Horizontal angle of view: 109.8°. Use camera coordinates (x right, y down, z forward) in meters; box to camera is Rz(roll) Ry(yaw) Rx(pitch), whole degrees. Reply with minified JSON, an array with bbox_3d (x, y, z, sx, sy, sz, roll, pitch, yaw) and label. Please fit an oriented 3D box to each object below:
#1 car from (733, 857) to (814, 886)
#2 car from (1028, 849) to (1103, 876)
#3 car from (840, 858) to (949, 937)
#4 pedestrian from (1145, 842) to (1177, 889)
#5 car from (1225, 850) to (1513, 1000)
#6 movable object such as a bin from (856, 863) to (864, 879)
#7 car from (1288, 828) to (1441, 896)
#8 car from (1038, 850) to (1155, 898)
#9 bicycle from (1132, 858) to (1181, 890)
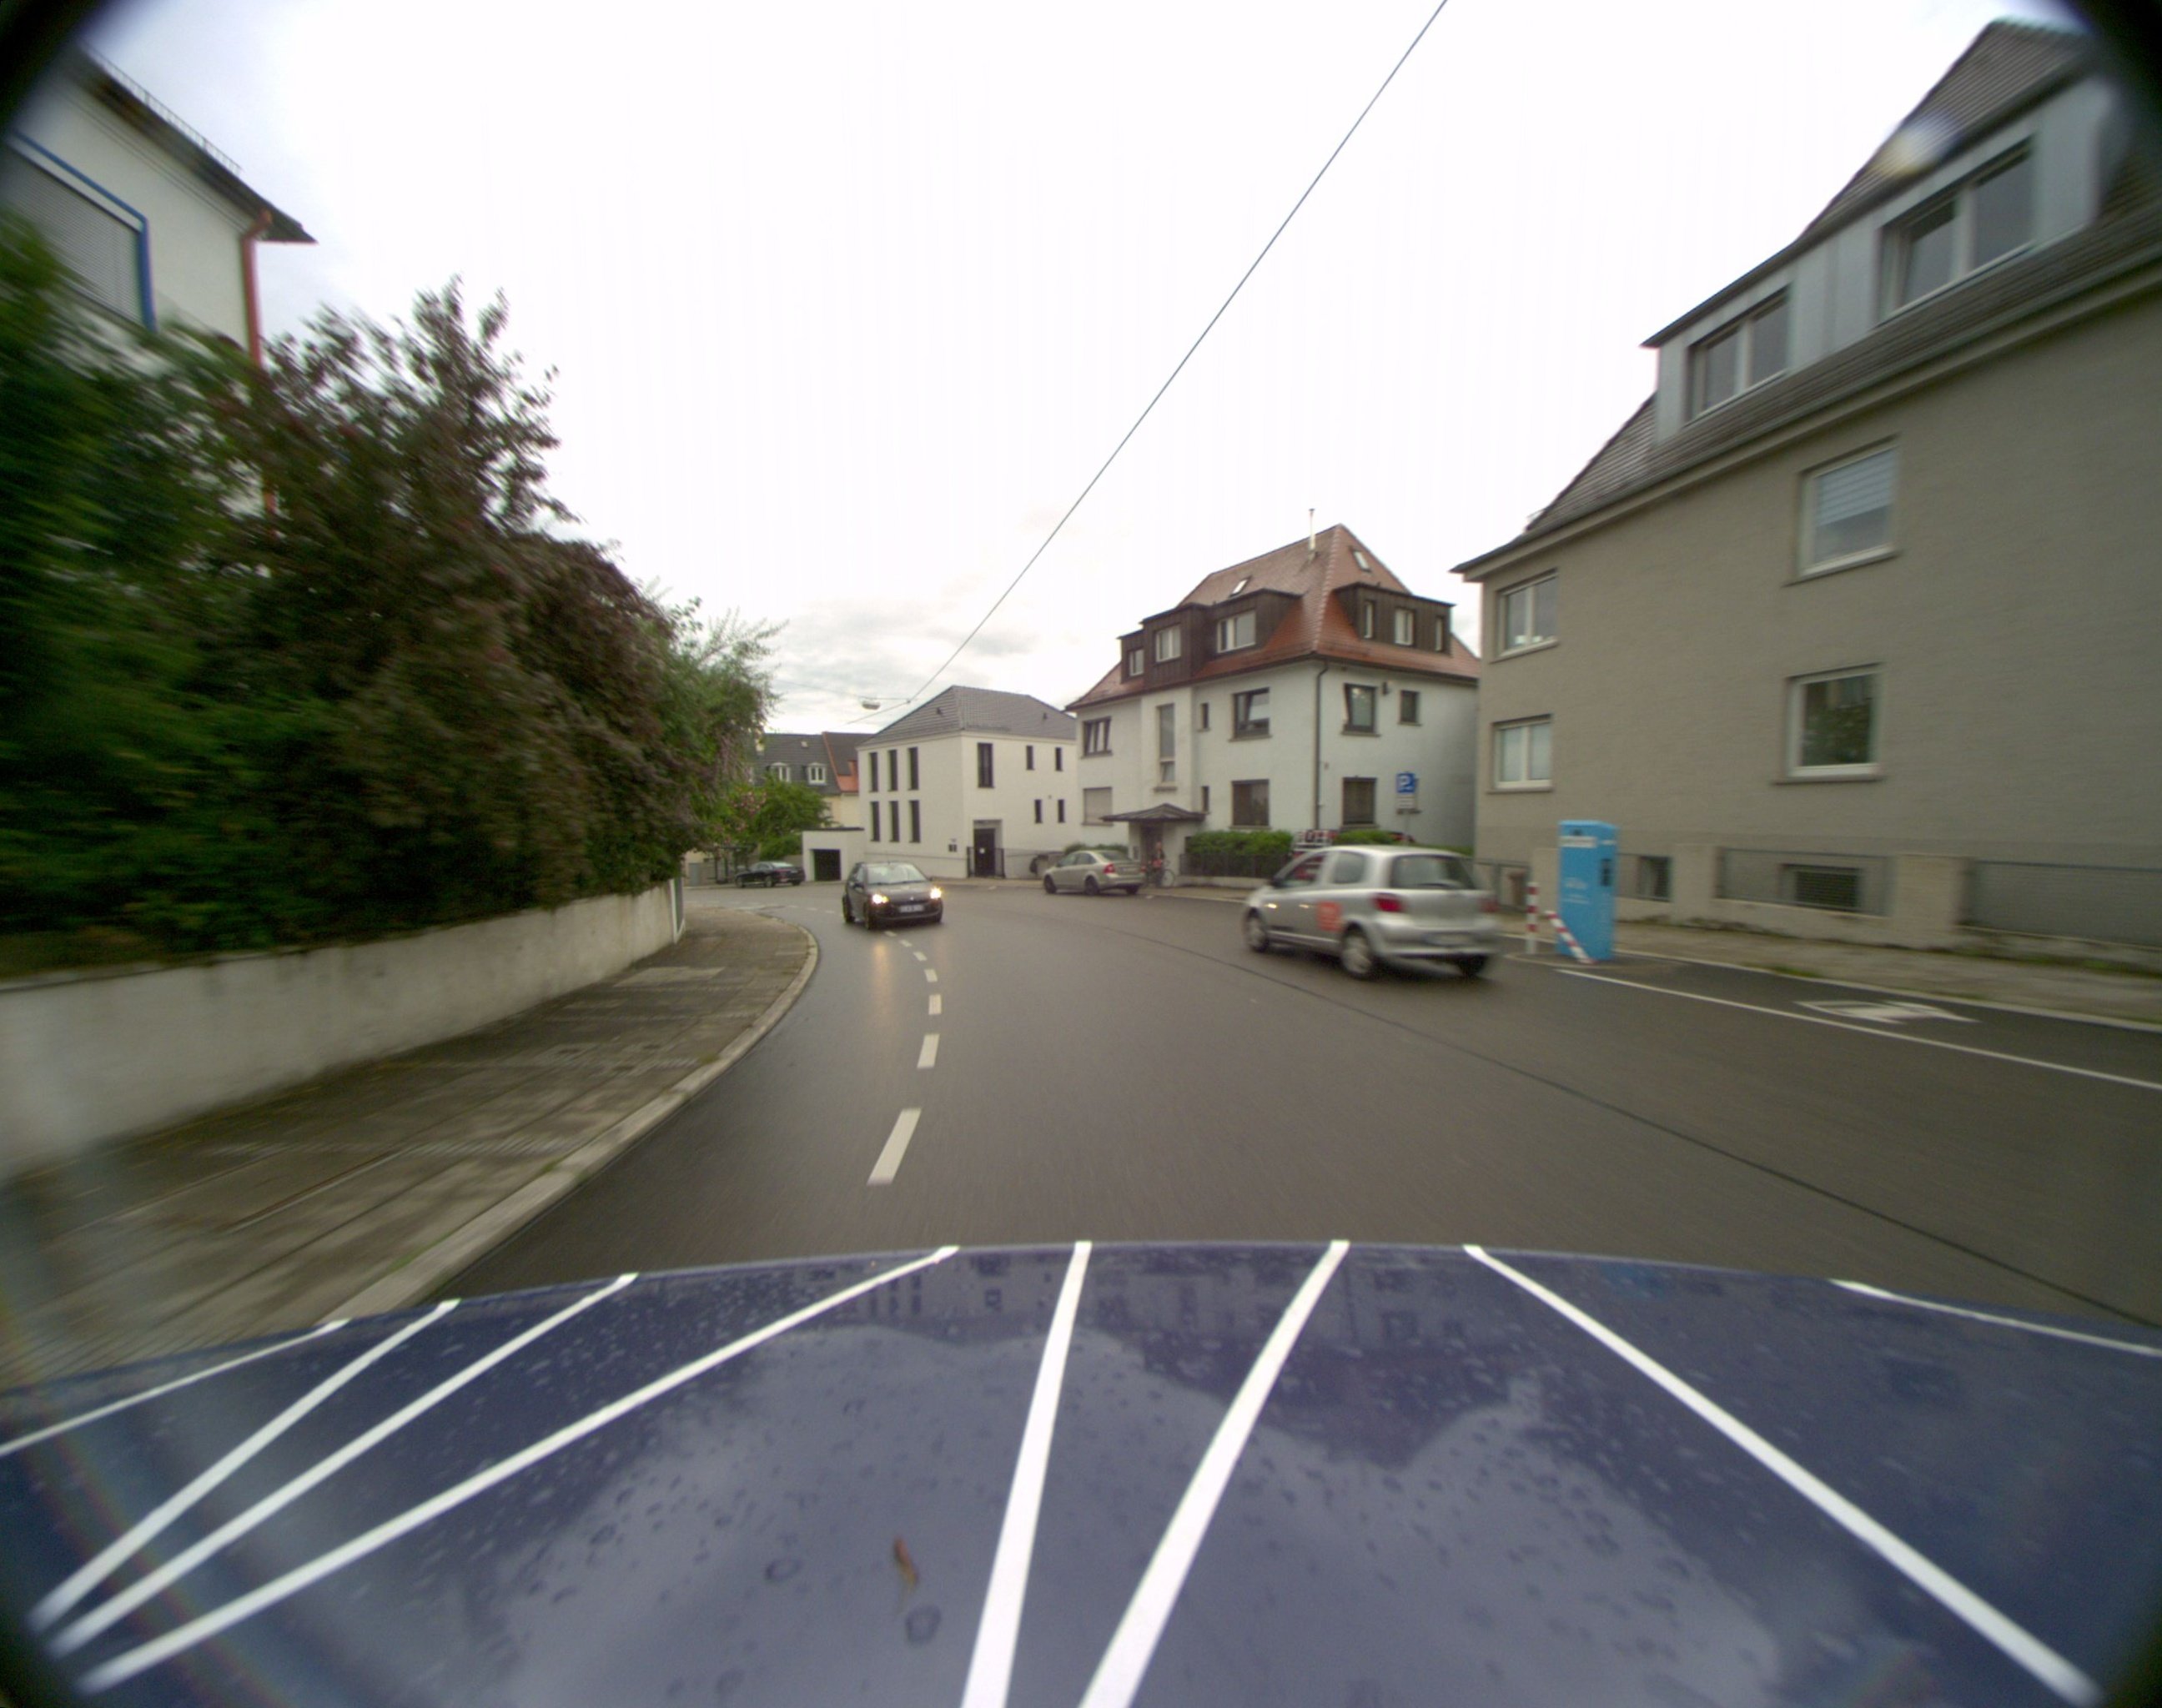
[{"bbox_3d":[-17.693,1.043,43.627,4.977,1.477,1.838,-2,2,36],"label":"car"},{"bbox_3d":[-0.809,0.483,41.638,1.737,1.345,4.010,2,-1,44],"label":"car"},{"bbox_3d":[-4.493,0.930,17.929,1.683,1.406,3.628,-6,4,-25],"label":"car"},{"bbox_3d":[2.834,0.401,26.877,0.949,1.568,0.493,-5,2,-31],"label":"pedestrian"},{"bbox_3d":[3.355,0.705,9.686,1.492,1.415,3.851,-2,1,-14],"label":"car"},{"bbox_3d":[-13.189,1.011,45.367,0.282,0.907,0.372,-1,1,36],"label":"movable object such as a bin"},{"bbox_3d":[8.301,0.256,22.234,4.006,1.812,1.996,1,-1,-27],"label":"car"},{"bbox_3d":[0.440,0.625,25.723,1.845,1.417,4.219,-3,1,-33],"label":"car"},{"bbox_3d":[2.605,0.682,26.405,0.458,1.061,1.916,-5,2,-37],"label":"bicycle"}]
